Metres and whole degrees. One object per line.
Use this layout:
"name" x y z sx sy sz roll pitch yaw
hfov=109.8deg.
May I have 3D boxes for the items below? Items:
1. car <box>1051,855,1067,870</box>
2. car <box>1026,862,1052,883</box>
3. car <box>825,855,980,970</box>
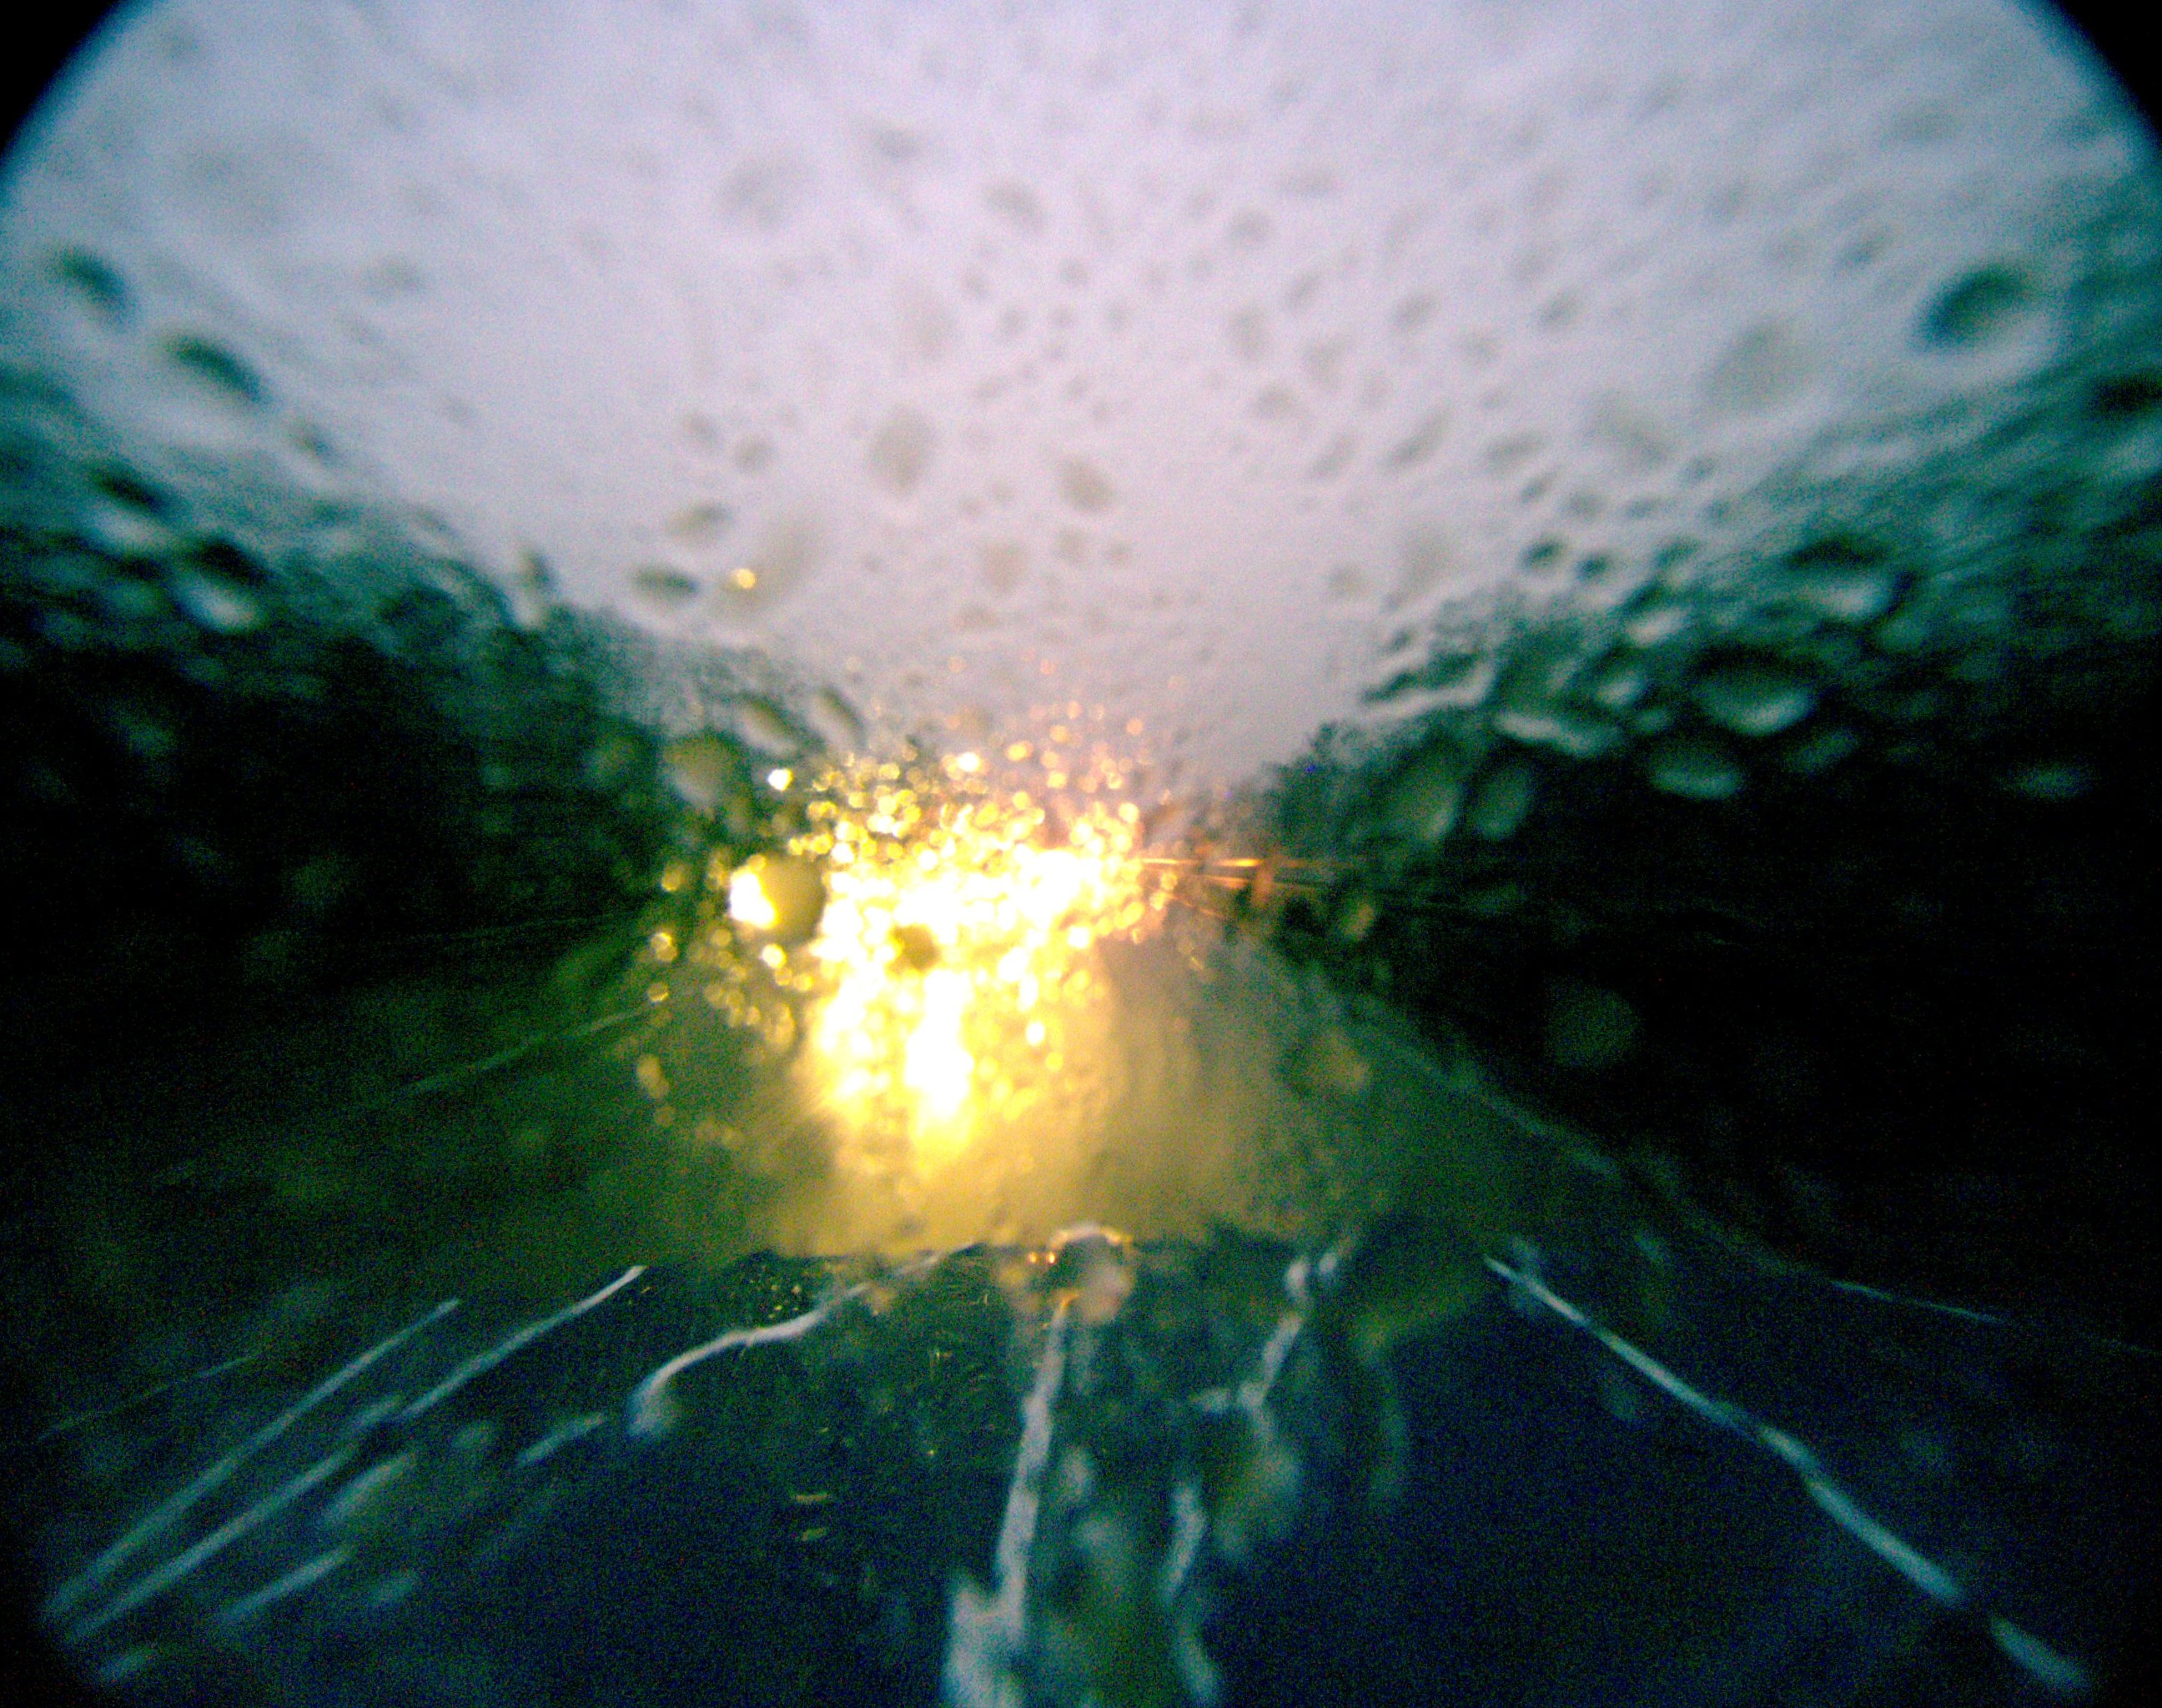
"car" -2.447 0.933 85.035 1.742 1.441 3.999 -2 1 -1
"car" -3.059 1.331 56.015 1.603 1.358 3.305 -2 0 2
"car" -3.183 0.956 14.440 1.929 1.781 3.940 -2 1 0
